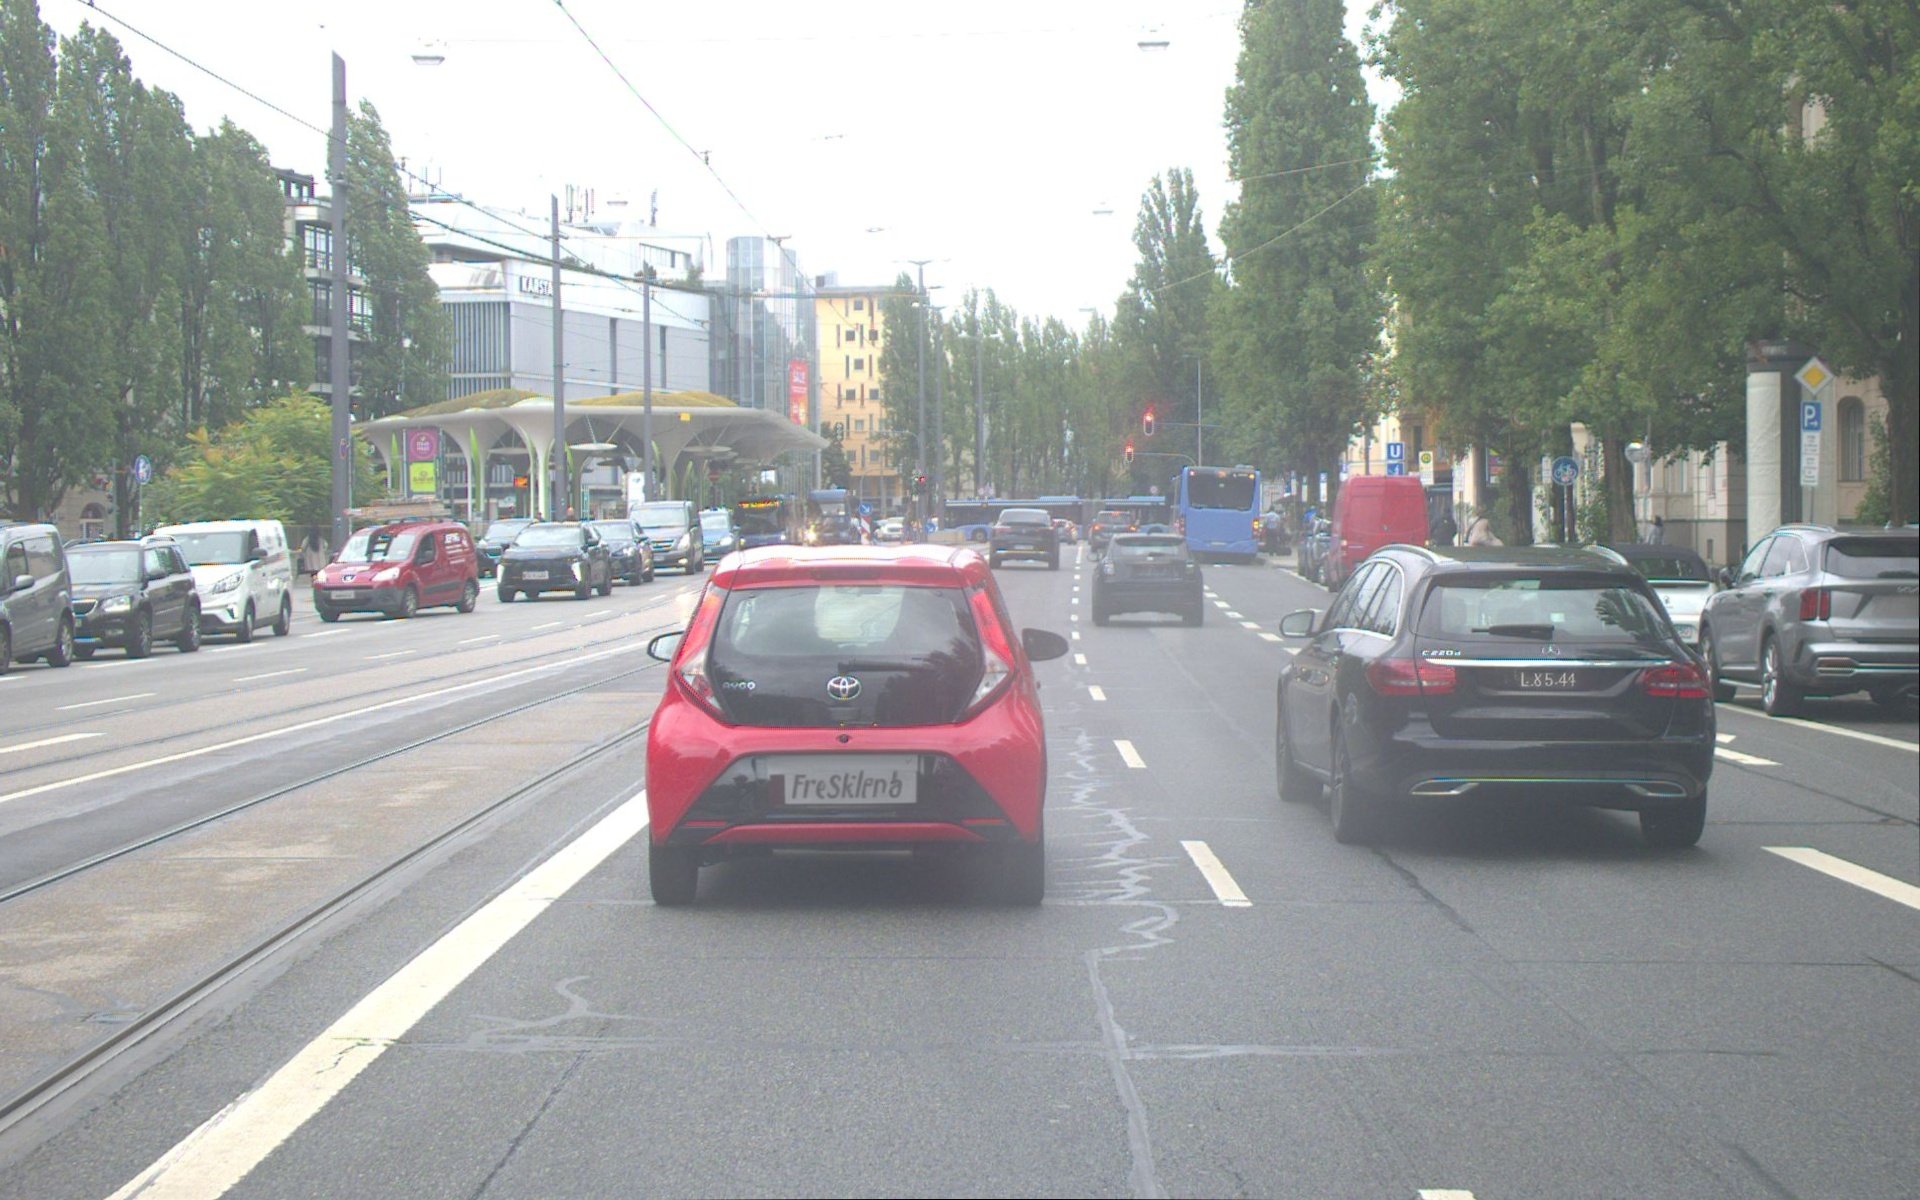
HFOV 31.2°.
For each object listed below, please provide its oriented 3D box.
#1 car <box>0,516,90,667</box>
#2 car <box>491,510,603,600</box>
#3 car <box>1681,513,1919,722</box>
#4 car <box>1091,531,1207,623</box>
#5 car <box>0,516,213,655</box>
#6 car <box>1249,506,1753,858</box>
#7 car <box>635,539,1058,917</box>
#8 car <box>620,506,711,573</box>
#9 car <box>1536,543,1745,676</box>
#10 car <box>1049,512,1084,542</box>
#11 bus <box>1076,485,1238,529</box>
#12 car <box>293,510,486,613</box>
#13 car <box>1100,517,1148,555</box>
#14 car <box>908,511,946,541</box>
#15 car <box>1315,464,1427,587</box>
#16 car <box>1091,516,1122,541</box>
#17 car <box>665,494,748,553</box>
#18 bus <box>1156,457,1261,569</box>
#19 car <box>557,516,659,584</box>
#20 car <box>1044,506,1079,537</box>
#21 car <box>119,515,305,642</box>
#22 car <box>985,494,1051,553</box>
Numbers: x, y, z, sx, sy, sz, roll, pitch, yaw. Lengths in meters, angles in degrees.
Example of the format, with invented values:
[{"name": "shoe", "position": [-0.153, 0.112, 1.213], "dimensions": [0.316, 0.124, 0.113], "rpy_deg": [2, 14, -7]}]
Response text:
[{"name": "car", "position": [-12.157, -0.097, 41.917], "dimensions": [1.799, 1.782, 4.519], "rpy_deg": [-2, 1, 1]}, {"name": "car", "position": [-8.713, -0.968, 72.853], "dimensions": [1.799, 1.782, 4.519], "rpy_deg": [-2, 1, 0]}, {"name": "car", "position": [7.931, 0.094, 31.148], "dimensions": [1.799, 1.737, 4.701], "rpy_deg": [-1, 1, 0]}, {"name": "car", "position": [3.098, -0.408, 56.983], "dimensions": [1.781, 1.481, 4.000], "rpy_deg": [0, 1, 1]}, {"name": "car", "position": [-11.882, -0.235, 47.875], "dimensions": [1.799, 1.782, 4.519], "rpy_deg": [-2, 1, 1]}, {"name": "car", "position": [2.655, 0.309, 17.961], "dimensions": [1.863, 1.543, 4.704], "rpy_deg": [-1, 2, 0]}, {"name": "car", "position": [-0.481, 0.471, 15.083], "dimensions": [1.628, 1.435, 3.377], "rpy_deg": [1, 1, -1]}, {"name": "car", "position": [-7.725, -1.597, 90.475], "dimensions": [1.799, 1.659, 4.519], "rpy_deg": [-2, 1, 2]}, {"name": "car", "position": [8.129, 0.077, 41.354], "dimensions": [1.799, 1.503, 4.000], "rpy_deg": [0, 1, 1]}, {"name": "car", "position": [6.366, -4.356, 205.176], "dimensions": [1.804, 1.590, 3.999], "rpy_deg": [0, -2, 5]}, {"name": "bus", "position": [12.999, -6.155, 227.311], "dimensions": [10.554, 2.836, 2.001], "rpy_deg": [0, 3, -2]}, {"name": "car", "position": [-10.555, -0.743, 63.911], "dimensions": [1.800, 1.782, 4.516], "rpy_deg": [-2, 1, 15]}, {"name": "car", "position": [6.402, -2.516, 134.589], "dimensions": [1.781, 1.481, 4.000], "rpy_deg": [0, 1, 1]}, {"name": "car", "position": [-1.637, -3.673, 171.023], "dimensions": [1.781, 1.481, 4.000], "rpy_deg": [0, 1, 1]}, {"name": "car", "position": [9.057, -1.683, 76.072], "dimensions": [1.993, 2.565, 4.680], "rpy_deg": [0, 3, 1]}, {"name": "car", "position": [8.801, -4.317, 207.293], "dimensions": [1.781, 1.481, 4.000], "rpy_deg": [0, 1, 1]}, {"name": "car", "position": [-7.611, -2.295, 103.432], "dimensions": [1.799, 1.659, 4.518], "rpy_deg": [-2, 1, 4]}, {"name": "bus", "position": [8.121, -2.957, 113.431], "dimensions": [2.906, 3.384, 10.807], "rpy_deg": [0, 3, 1]}, {"name": "car", "position": [-8.463, -1.228, 83.017], "dimensions": [1.799, 1.525, 4.519], "rpy_deg": [-2, 1, 2]}, {"name": "car", "position": [5.873, -4.526, 198.369], "dimensions": [1.804, 1.590, 3.999], "rpy_deg": [0, -2, 5]}, {"name": "car", "position": [-11.739, -0.372, 54.226], "dimensions": [1.799, 1.855, 4.631], "rpy_deg": [-2, 1, 1]}, {"name": "car", "position": [1.577, -2.086, 93.276], "dimensions": [1.736, 1.544, 4.576], "rpy_deg": [-1, 1, 1]}]
